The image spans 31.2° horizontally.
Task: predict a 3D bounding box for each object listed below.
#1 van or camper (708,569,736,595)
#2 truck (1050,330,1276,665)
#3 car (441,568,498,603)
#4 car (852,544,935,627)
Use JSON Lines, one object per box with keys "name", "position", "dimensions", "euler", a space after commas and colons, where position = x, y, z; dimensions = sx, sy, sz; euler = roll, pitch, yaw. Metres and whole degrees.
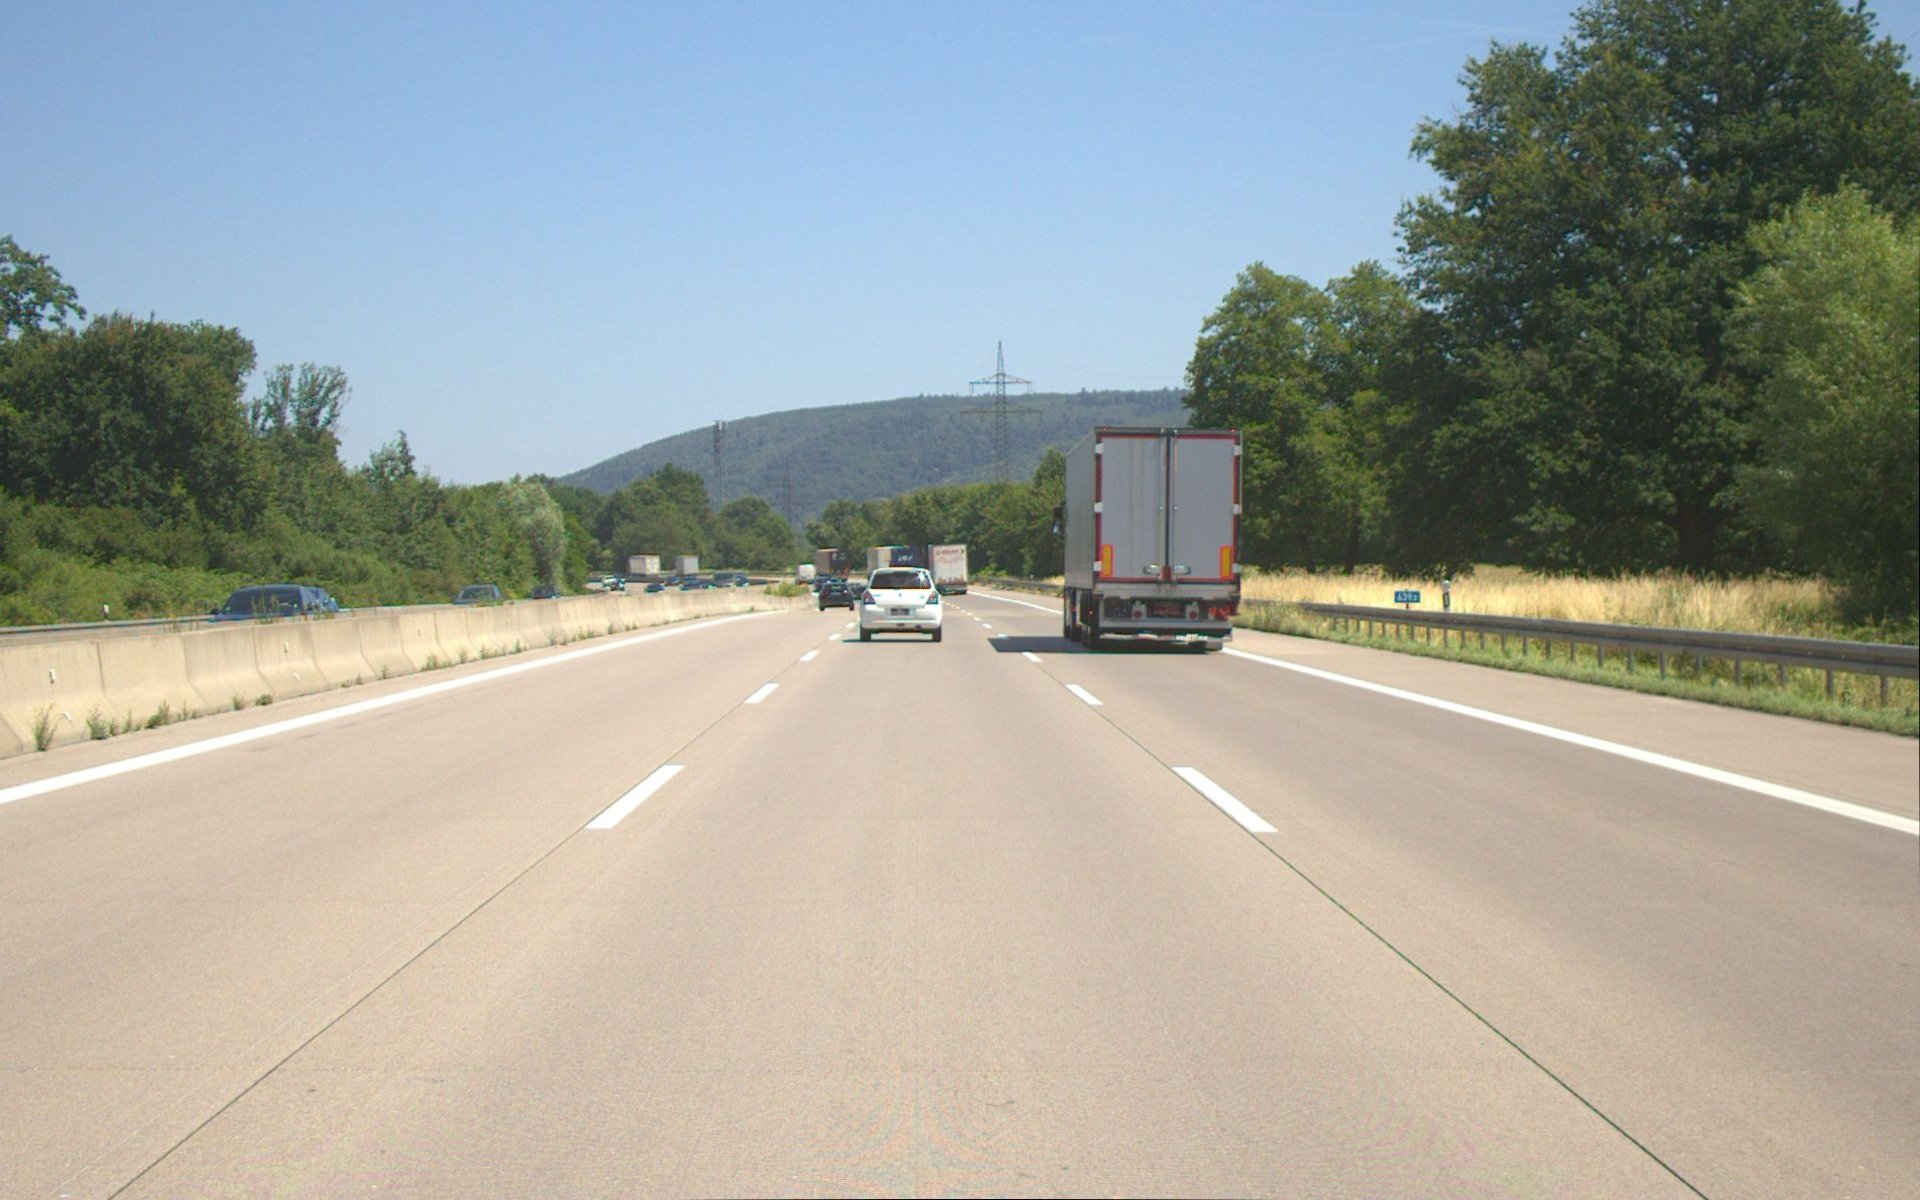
{"name": "van or camper", "position": [-17.543, -1.333, 253.895], "dimensions": [1.847, 1.875, 4.417], "euler": [-1, 0, -1]}
{"name": "truck", "position": [3.745, -1.915, 68.602], "dimensions": [3.577, 5.767, 18.247], "euler": [0, 1, 1]}
{"name": "car", "position": [-19.128, -0.591, 134.117], "dimensions": [1.676, 1.311, 4.861], "euler": [0, 1, -2]}
{"name": "car", "position": [-1.357, -0.314, 70.771], "dimensions": [1.641, 1.656, 3.360], "euler": [1, 1, -1]}
